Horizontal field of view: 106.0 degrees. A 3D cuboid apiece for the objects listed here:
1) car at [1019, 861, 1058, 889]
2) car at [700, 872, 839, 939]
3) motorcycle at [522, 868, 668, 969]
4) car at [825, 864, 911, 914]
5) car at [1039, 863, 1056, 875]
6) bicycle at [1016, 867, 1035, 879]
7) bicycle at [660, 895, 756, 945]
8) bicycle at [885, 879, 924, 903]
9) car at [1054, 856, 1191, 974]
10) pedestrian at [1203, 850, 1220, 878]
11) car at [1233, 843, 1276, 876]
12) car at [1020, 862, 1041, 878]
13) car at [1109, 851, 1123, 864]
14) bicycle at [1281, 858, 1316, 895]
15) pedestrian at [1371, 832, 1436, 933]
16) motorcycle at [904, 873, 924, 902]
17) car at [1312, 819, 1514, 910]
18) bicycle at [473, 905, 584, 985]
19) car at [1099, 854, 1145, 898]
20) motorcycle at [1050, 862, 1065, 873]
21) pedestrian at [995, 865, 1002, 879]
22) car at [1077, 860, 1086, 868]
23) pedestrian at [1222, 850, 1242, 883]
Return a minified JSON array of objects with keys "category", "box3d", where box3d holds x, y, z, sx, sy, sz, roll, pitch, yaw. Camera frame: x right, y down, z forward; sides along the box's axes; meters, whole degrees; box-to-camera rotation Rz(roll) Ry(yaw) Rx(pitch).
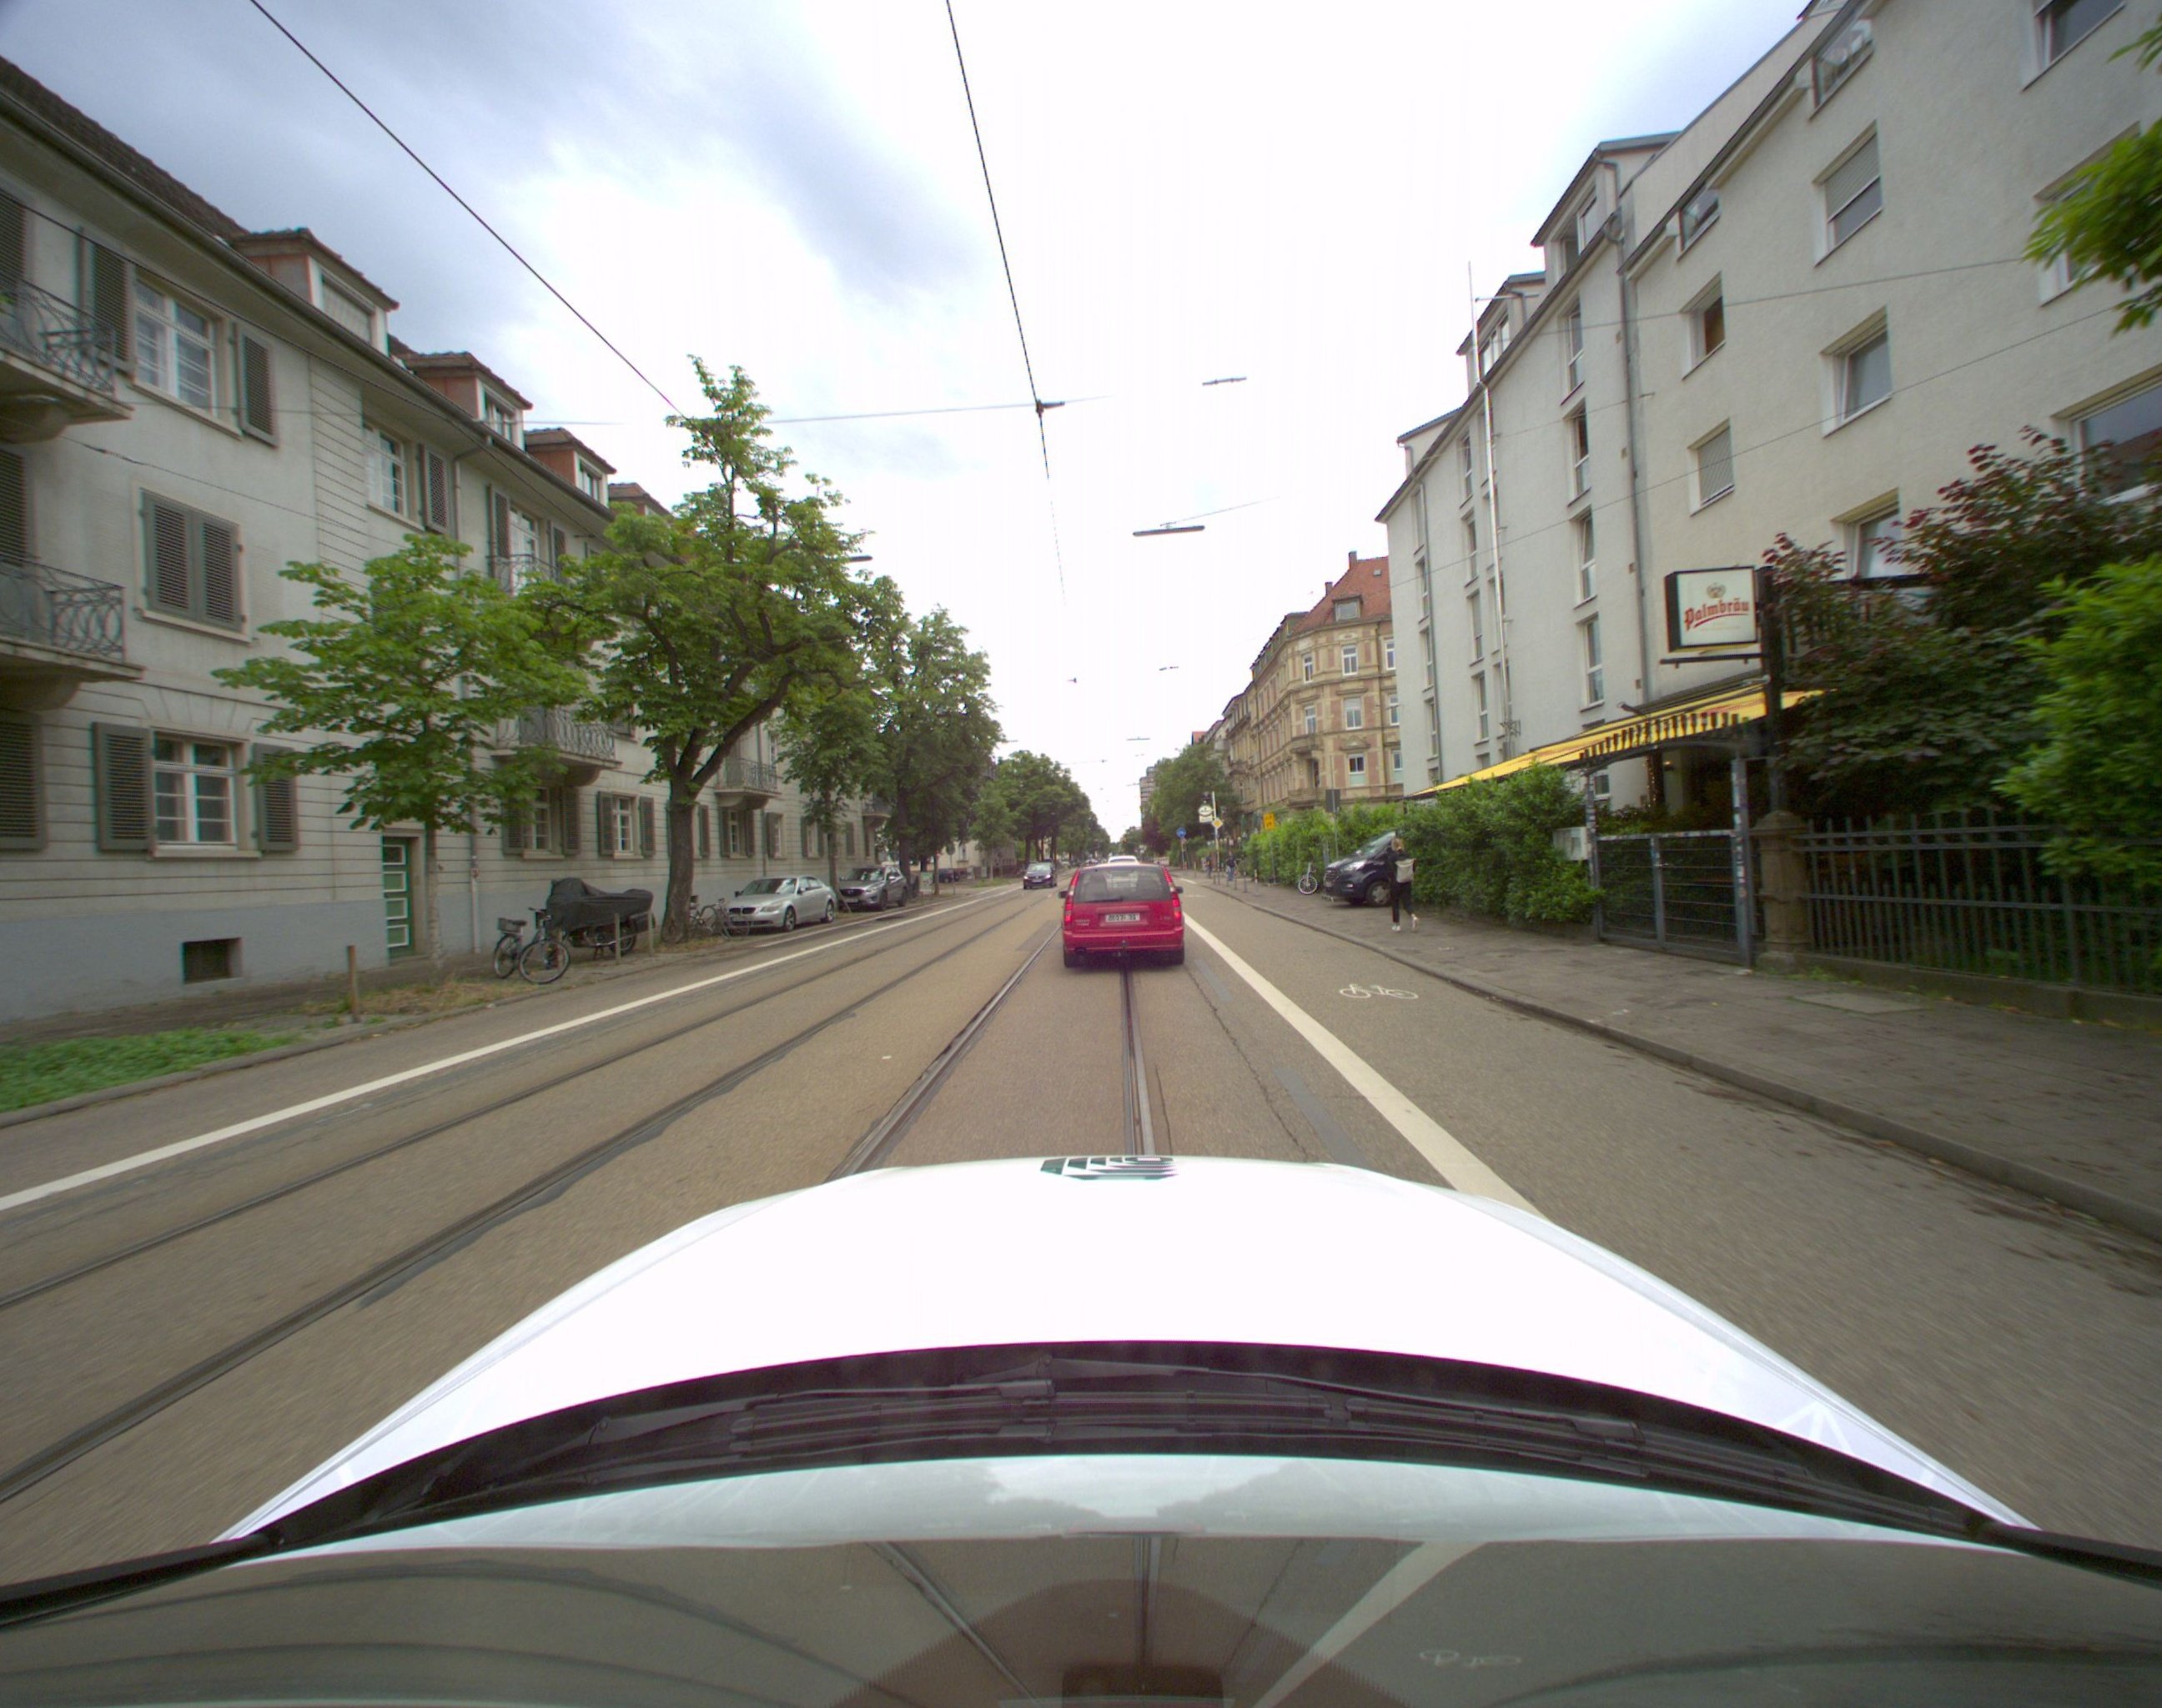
[{"category":"car","box3d":[-2.339,1.167,45.669,1.722,1.408,3.657,-3,0,2]},{"category":"car","box3d":[-8.261,1.301,22.112,1.805,1.466,4.616,-2,0,2]},{"category":"motorcycle","box3d":[-8.929,1.131,15.140,0.827,1.643,2.487,-3,-1,10]},{"category":"car","box3d":[-7.806,1.237,30.256,1.829,1.661,4.297,-1,0,3]},{"category":"car","box3d":[-4.427,1.978,107.878,1.770,1.511,4.241,-2,-1,3]},{"category":"bicycle","box3d":[-5.779,1.973,84.682,1.915,1.121,0.624,-1,-1,2]},{"category":"bicycle","box3d":[-8.538,1.508,18.680,1.889,1.027,0.563,-2,-1,-2]},{"category":"bicycle","box3d":[-7.521,1.581,34.774,1.369,1.005,0.931,0,0,6]},{"category":"car","box3d":[0.690,0.785,12.174,1.681,1.441,3.748,-2,0,5]},{"category":"pedestrian","box3d":[7.989,0.587,49.881,0.866,1.656,0.912,-3,-1,15]},{"category":"car","box3d":[10.836,0.313,50.629,2.036,1.877,5.052,-3,0,18]},{"category":"car","box3d":[-5.466,1.715,88.851,1.890,1.655,4.226,-3,-1,1]},{"category":"car","box3d":[4.649,0.450,109.113,1.735,1.606,4.000,-3,-1,0]},{"category":"bicycle","box3d":[7.156,0.723,26.869,0.630,1.127,1.813,-5,0,2]},{"category":"pedestrian","box3d":[5.644,0.486,14.314,0.621,1.671,0.960,-6,-1,2]},{"category":"motorcycle","box3d":[-7.846,1.556,38.310,0.539,1.257,2.139,-3,-1,-4]},{"category":"car","box3d":[8.242,0.263,20.536,4.262,1.809,1.825,-5,-1,4]},{"category":"bicycle","box3d":[-8.731,1.411,12.860,1.727,1.129,0.520,0,1,20]},{"category":"car","box3d":[1.737,0.886,33.564,1.711,1.625,3.945,-3,-1,4]},{"category":"motorcycle","box3d":[-3.670,2.147,129.723,2.242,1.511,0.932,-4,-3,37]},{"category":"pedestrian","box3d":[-8.572,1.858,84.367,0.562,1.467,0.723,-3,-1,2]},{"category":"car","box3d":[0.098,2.091,174.735,1.844,1.563,3.945,-3,-1,2]},{"category":"pedestrian","box3d":[8.024,0.667,43.304,0.790,1.636,0.836,-4,-1,2]}]
